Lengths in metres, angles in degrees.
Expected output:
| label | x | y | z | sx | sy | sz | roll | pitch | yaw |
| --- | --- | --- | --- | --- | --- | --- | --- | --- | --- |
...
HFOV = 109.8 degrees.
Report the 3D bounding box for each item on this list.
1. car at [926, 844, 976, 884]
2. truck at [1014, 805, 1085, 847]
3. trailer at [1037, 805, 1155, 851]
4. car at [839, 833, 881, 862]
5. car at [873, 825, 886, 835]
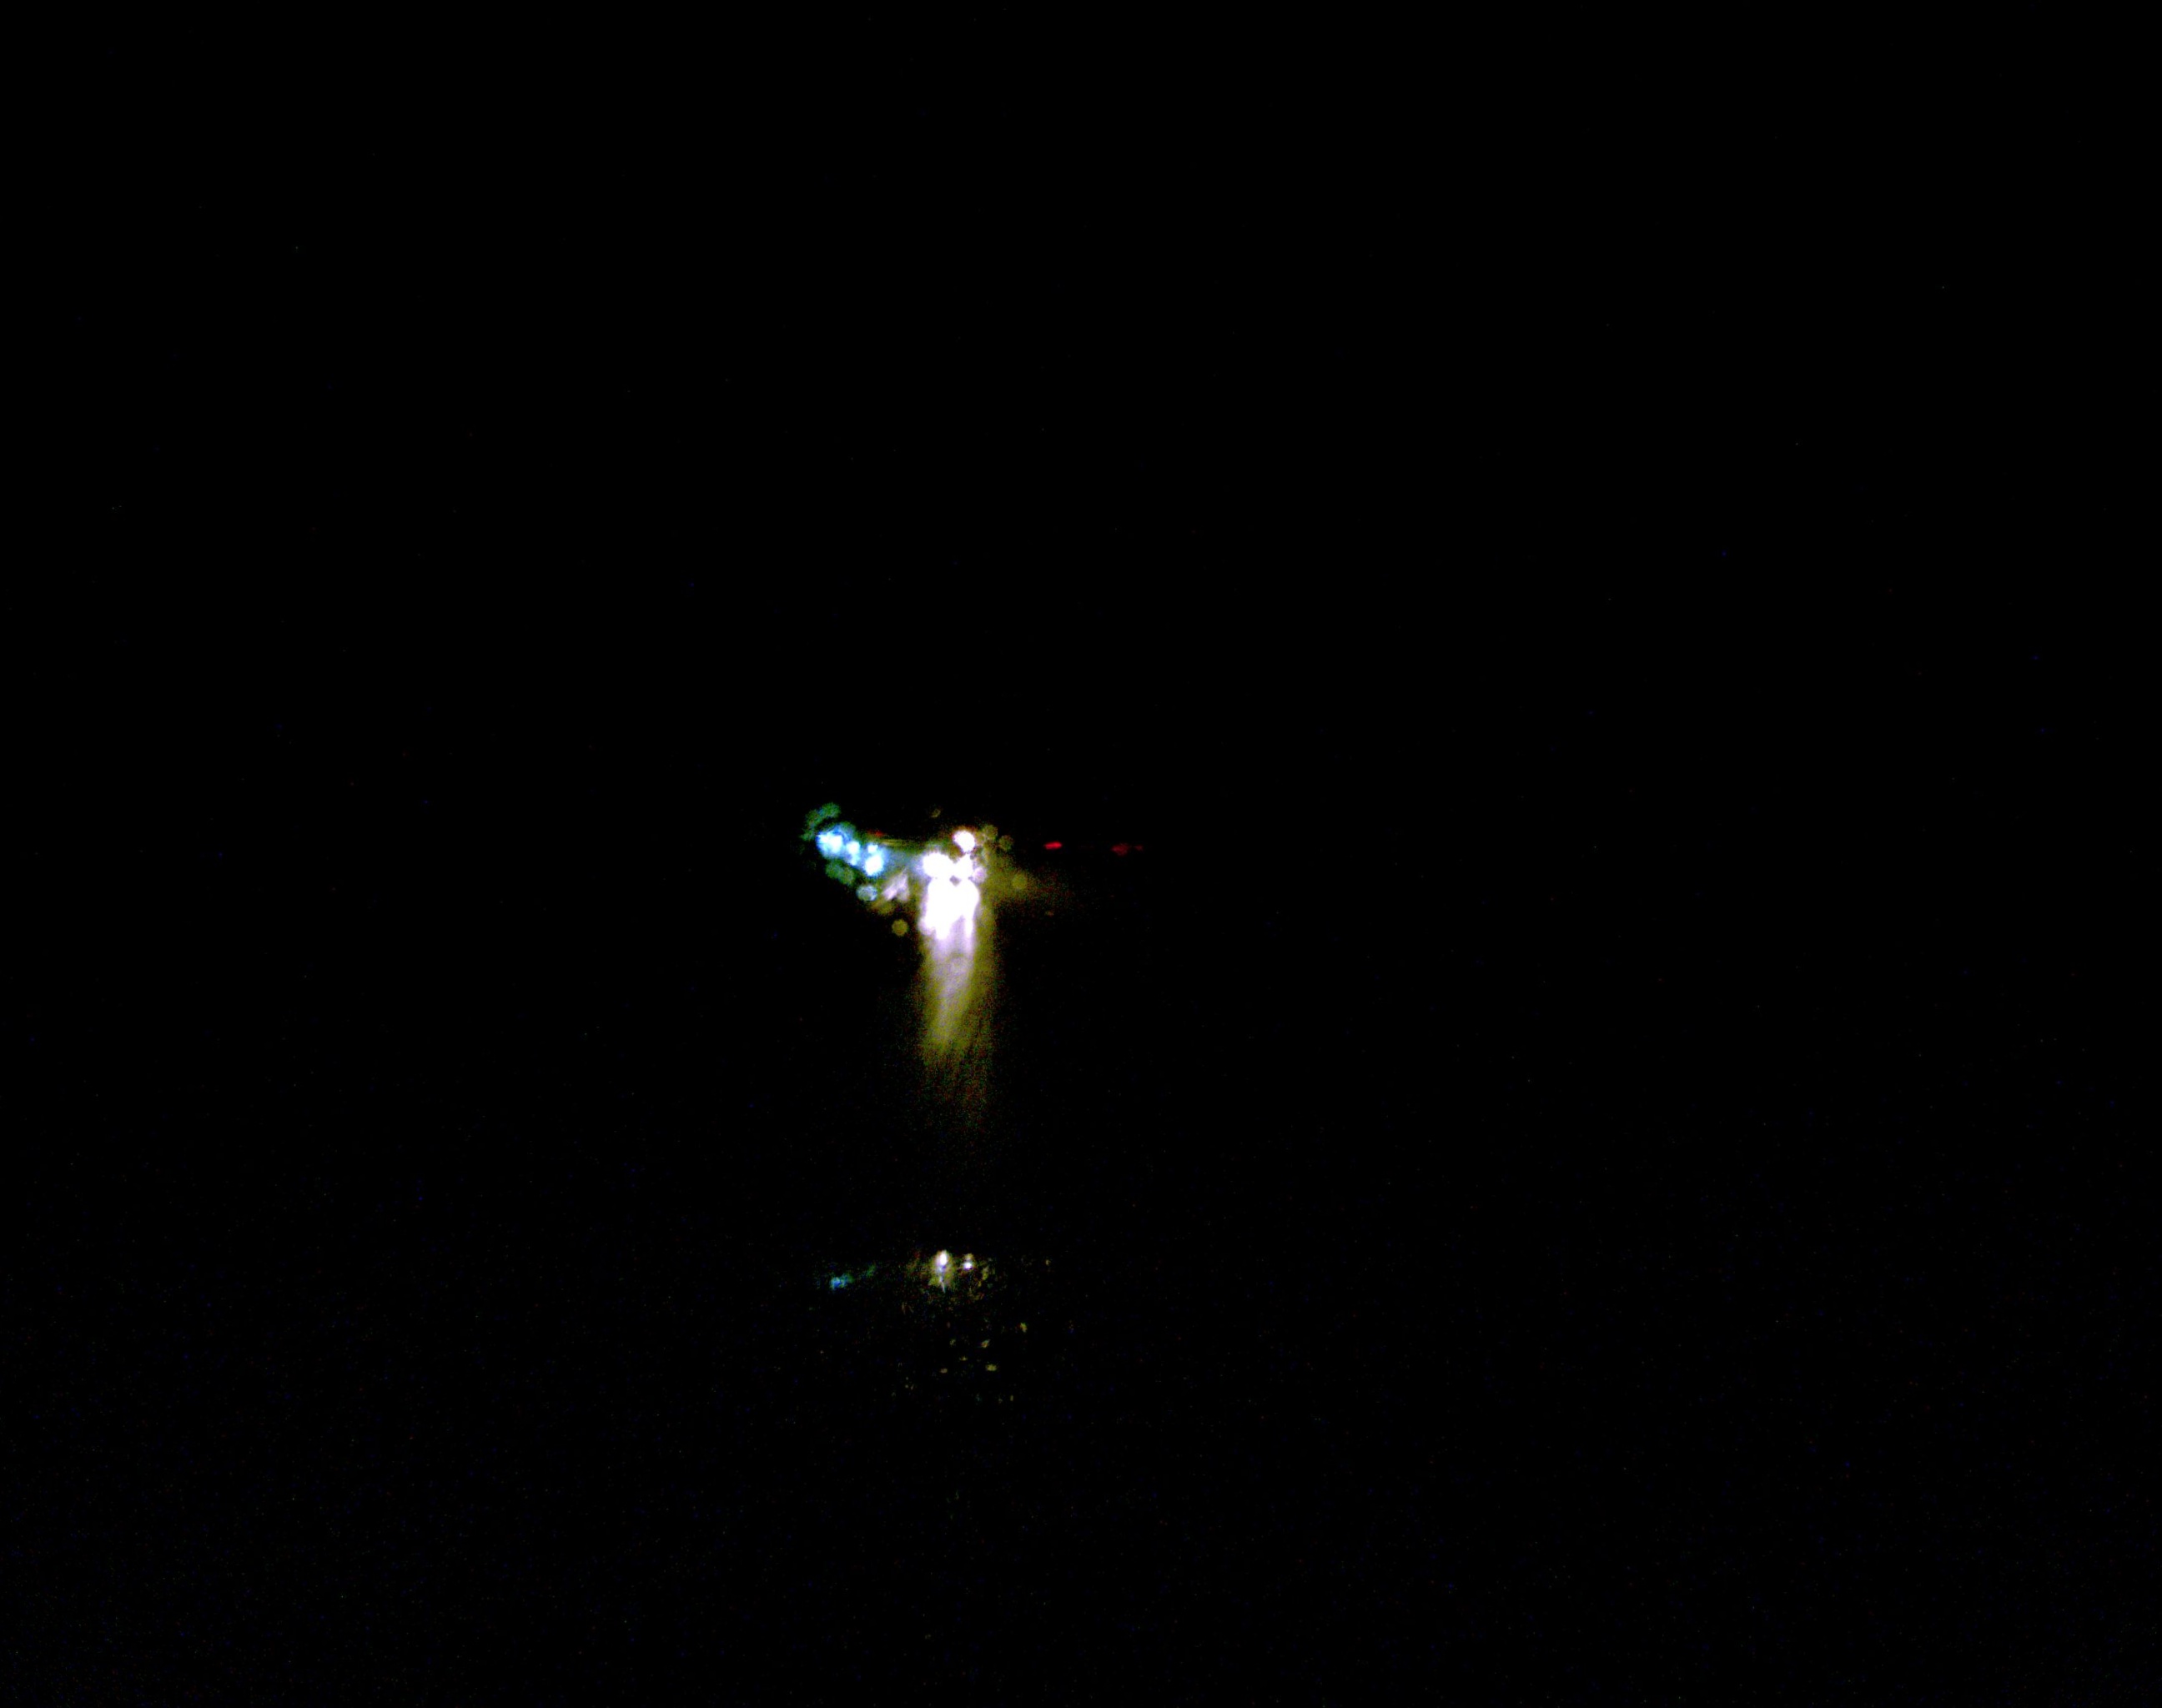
| label | x | y | z | sx | sy | sz | roll | pitch | yaw |
| --- | --- | --- | --- | --- | --- | --- | --- | --- | --- |
| car | -6.156 | 0.446 | 35.696 | 1.895 | 1.603 | 3.992 | 1 | 3 | -15 |
| truck | -3.251 | -2.812 | 76.177 | 3.416 | 3.951 | 7.436 | -1 | 3 | -37 |
| trailer | 1.047 | -2.501 | 70.300 | 3.457 | 3.857 | 13.323 | -2 | 4 | -36 |
| car | -17.252 | -0.498 | 59.273 | 2.002 | 2.003 | 3.990 | -6 | 3 | -31 |
| car | -32.352 | -3.919 | 121.990 | 1.791 | 1.466 | 3.884 | 0 | 3 | -18 |
